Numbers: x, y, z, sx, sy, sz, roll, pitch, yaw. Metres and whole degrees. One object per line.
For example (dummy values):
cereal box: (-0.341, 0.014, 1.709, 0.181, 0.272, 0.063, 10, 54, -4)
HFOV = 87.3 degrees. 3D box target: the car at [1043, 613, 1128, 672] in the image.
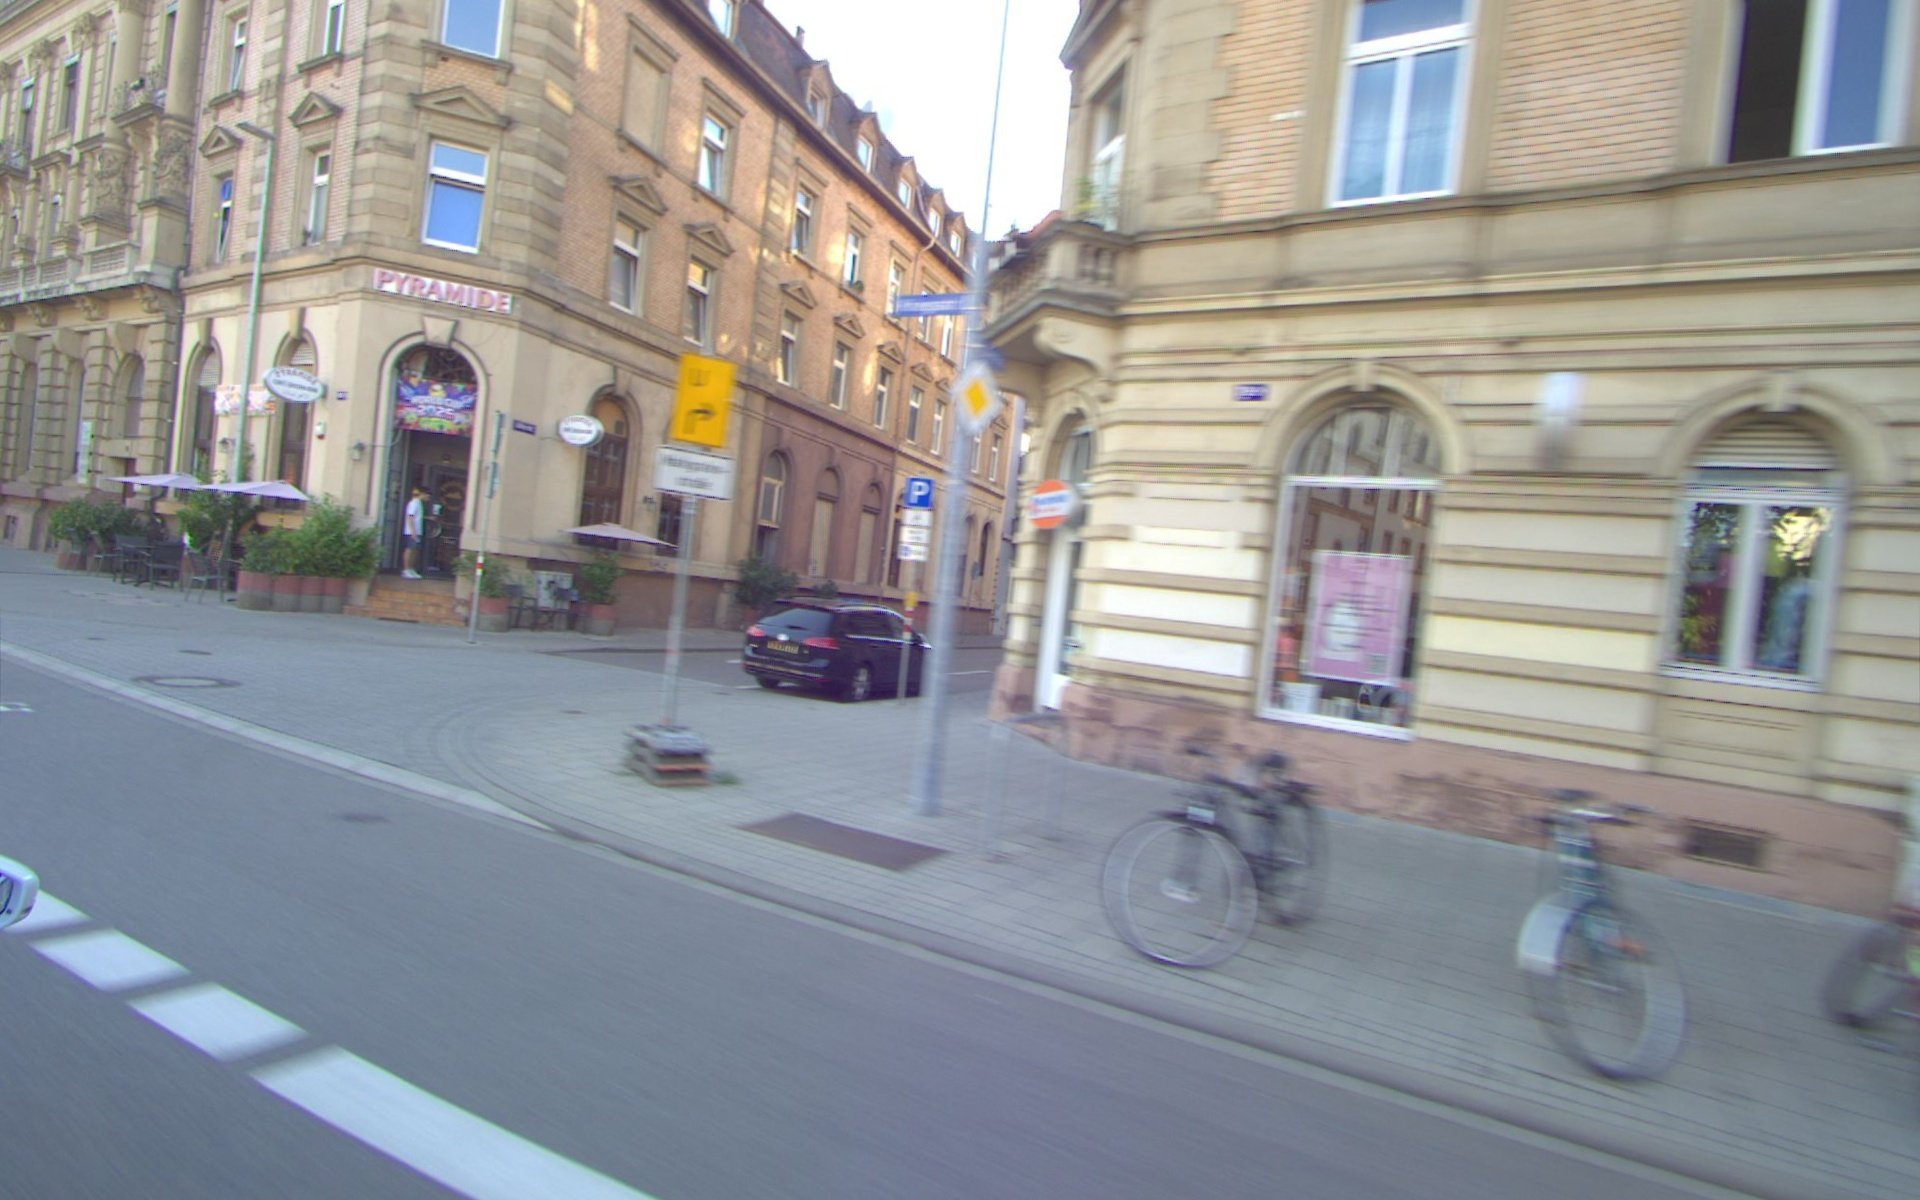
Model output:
car: (3.726, 1.235, 29.392, 1.588, 1.439, 3.511, 7, 0, 20)

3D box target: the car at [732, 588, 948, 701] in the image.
car: (-1.717, 0.681, 15.886, 1.588, 1.405, 4.153, 5, 0, 20)

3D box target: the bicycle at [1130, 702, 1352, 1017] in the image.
bicycle: (1.513, 1.189, 5.169, 0.652, 1.079, 1.827, 8, 3, 26)

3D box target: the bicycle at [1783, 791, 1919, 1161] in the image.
bicycle: (4.170, 1.539, 4.168, 0.652, 1.079, 1.827, 8, 3, 26)

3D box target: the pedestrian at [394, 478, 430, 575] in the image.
pedestrian: (-10.335, -1.377, 18.969, 0.443, 1.762, 0.538, 6, 1, -31)

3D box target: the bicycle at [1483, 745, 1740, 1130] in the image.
bicycle: (2.851, 1.366, 4.600, 0.652, 1.079, 1.827, 8, 3, 26)
